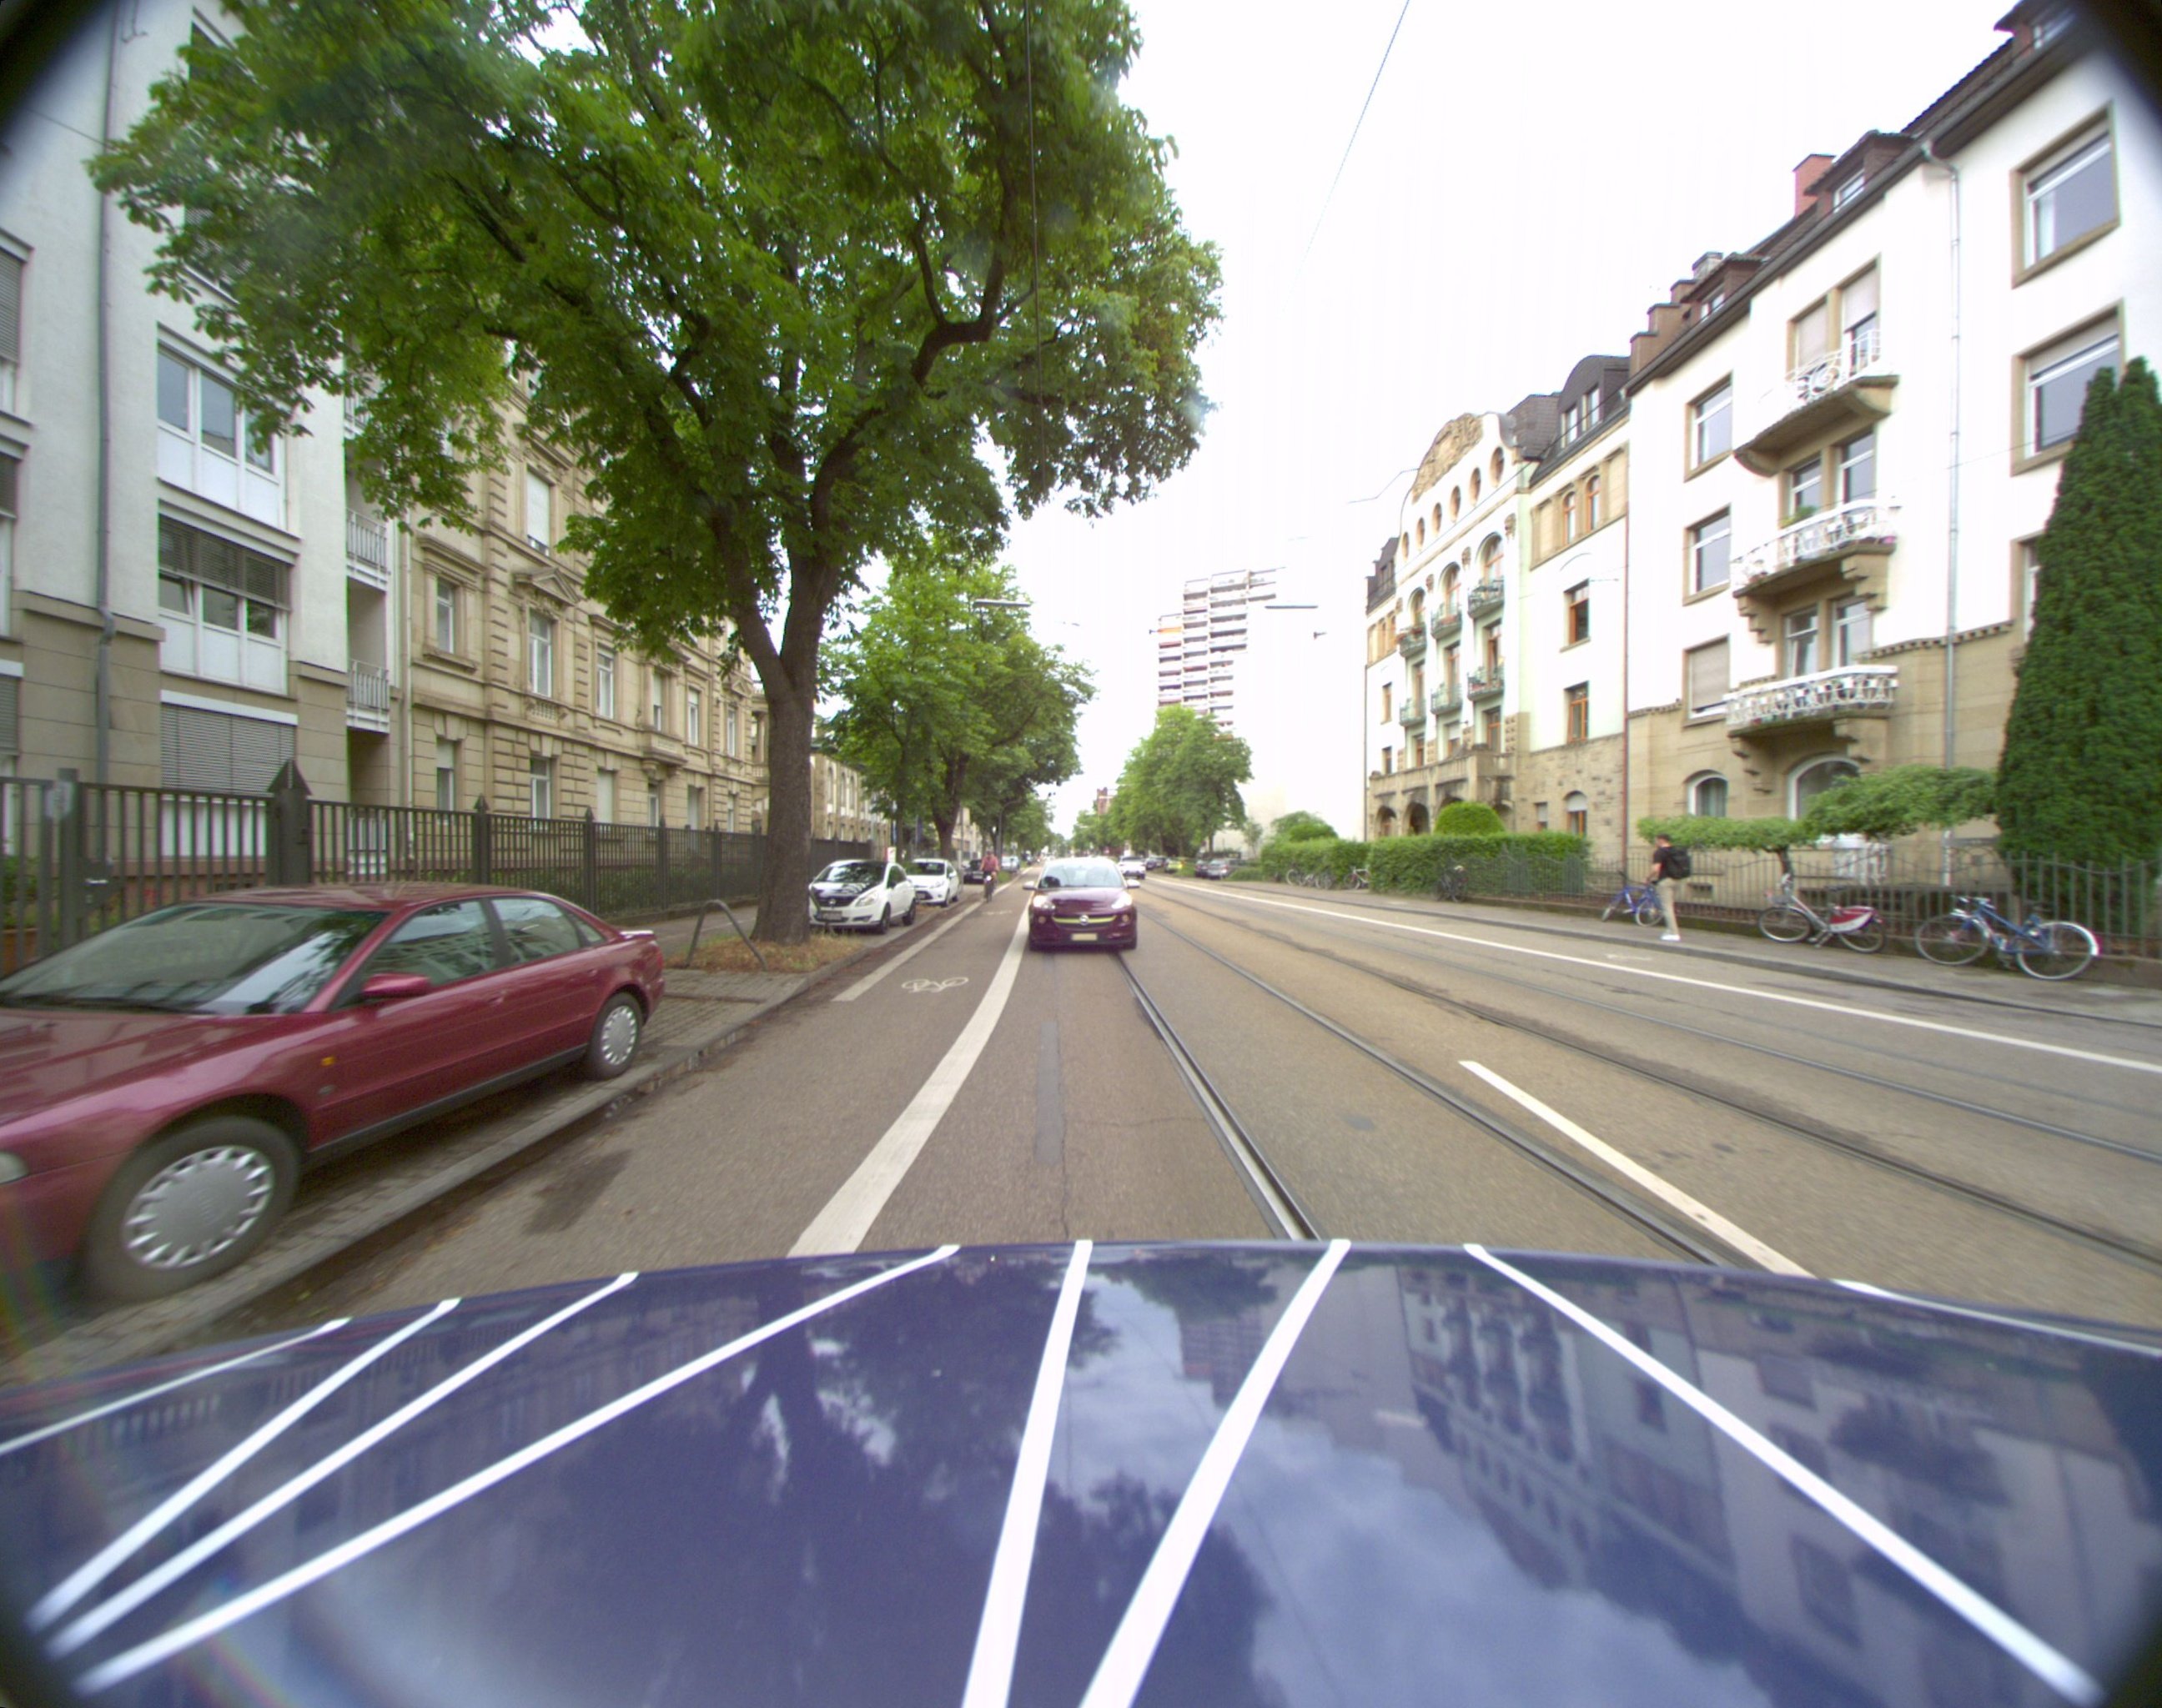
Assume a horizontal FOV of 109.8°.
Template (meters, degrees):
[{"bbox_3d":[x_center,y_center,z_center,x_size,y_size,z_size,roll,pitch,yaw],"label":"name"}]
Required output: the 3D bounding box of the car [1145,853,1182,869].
[{"bbox_3d":[8.539,0.728,78.809,1.690,1.611,4.009,1,0,45],"label":"car"}]

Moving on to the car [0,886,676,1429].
[{"bbox_3d":[-4.057,0.987,4.054,1.606,1.391,4.226,2,0,-2],"label":"car"}]

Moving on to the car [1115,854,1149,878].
[{"bbox_3d":[3.310,0.754,50.122,1.703,1.487,3.929,1,0,-4],"label":"car"}]

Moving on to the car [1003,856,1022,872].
[{"bbox_3d":[-6.522,0.946,72.579,1.606,1.416,3.836,2,0,-2],"label":"car"}]

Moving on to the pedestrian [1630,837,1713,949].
[{"bbox_3d":[10.055,0.642,12.964,0.670,1.833,0.882,1,1,-3],"label":"pedestrian"}]

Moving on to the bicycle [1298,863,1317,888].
[{"bbox_3d":[10.364,0.967,34.750,0.360,1.077,1.546,0,0,-2],"label":"bicycle"}]

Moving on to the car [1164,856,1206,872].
[{"bbox_3d":[9.449,0.887,69.115,1.690,1.434,4.009,1,0,45],"label":"car"}]

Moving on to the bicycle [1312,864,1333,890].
[{"bbox_3d":[10.395,0.964,32.739,0.360,1.077,1.546,0,0,-2],"label":"bicycle"}]

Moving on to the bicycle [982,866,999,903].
[{"bbox_3d":[-3.028,1.002,25.561,0.414,1.197,1.706,0,0,-1],"label":"bicycle"}]

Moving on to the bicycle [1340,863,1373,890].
[{"bbox_3d":[11.418,0.940,31.486,1.205,1.077,0.300,-2,1,0],"label":"bicycle"}]

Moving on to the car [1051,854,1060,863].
[{"bbox_3d":[-6.432,1.080,189.032,1.998,2.002,3.999,-1,1,1],"label":"car"}]

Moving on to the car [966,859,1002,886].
[{"bbox_3d":[-5.408,1.005,42.809,1.606,1.362,3.836,2,0,-2],"label":"car"}]

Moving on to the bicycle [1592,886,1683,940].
[{"bbox_3d":[11.230,1.172,15.406,0.358,0.924,1.661,19,0,0],"label":"bicycle"}]

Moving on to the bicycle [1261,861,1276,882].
[{"bbox_3d":[10.122,0.944,41.088,0.360,1.077,1.546,0,0,-2],"label":"bicycle"}]

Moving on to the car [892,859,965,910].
[{"bbox_3d":[-4.789,0.911,24.235,1.632,1.427,3.763,2,0,-2],"label":"car"}]

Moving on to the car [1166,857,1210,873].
[{"bbox_3d":[9.338,0.925,66.059,1.690,1.387,4.009,1,0,45],"label":"car"}]

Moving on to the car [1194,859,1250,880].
[{"bbox_3d":[9.813,1.056,52.732,4.008,1.395,1.690,0,0,-42],"label":"car"}]

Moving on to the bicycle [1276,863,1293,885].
[{"bbox_3d":[10.220,0.989,38.148,0.360,1.077,1.546,0,0,-2],"label":"bicycle"}]

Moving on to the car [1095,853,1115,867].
[{"bbox_3d":[2.522,0.628,80.531,1.613,1.414,3.484,1,0,-5],"label":"car"}]

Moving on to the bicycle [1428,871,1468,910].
[{"bbox_3d":[10.862,1.066,22.532,0.360,1.077,1.546,0,0,-2],"label":"bicycle"}]

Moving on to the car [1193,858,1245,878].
[{"bbox_3d":[10.184,1.010,55.914,4.008,1.395,1.690,0,0,-42],"label":"car"}]

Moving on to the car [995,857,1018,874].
[{"bbox_3d":[-6.373,0.944,65.238,1.606,1.362,3.836,2,0,-2],"label":"car"}]

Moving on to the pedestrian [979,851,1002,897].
[{"bbox_3d":[-3.017,0.663,25.408,0.684,1.541,0.704,0,1,-2],"label":"pedestrian"}]

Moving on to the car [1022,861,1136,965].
[{"bbox_3d":[-0.058,0.865,12.847,1.606,1.427,3.776,-1,0,-1],"label":"car"}]

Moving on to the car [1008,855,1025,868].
[{"bbox_3d":[-7.219,0.814,84.988,1.606,1.362,3.836,2,0,-2],"label":"car"}]

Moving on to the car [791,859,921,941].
[{"bbox_3d":[-4.551,0.865,15.909,1.606,1.427,3.776,2,0,-1],"label":"car"}]

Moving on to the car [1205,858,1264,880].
[{"bbox_3d":[10.108,0.971,49.908,4.008,1.395,1.690,0,0,-42],"label":"car"}]

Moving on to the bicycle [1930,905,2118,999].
[{"bbox_3d":[11.286,1.138,9.172,0.333,0.932,1.515,0,0,-2],"label":"bicycle"}]

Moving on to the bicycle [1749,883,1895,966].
[{"bbox_3d":[11.197,1.027,11.554,0.386,1.095,1.623,0,0,-13],"label":"bicycle"}]
